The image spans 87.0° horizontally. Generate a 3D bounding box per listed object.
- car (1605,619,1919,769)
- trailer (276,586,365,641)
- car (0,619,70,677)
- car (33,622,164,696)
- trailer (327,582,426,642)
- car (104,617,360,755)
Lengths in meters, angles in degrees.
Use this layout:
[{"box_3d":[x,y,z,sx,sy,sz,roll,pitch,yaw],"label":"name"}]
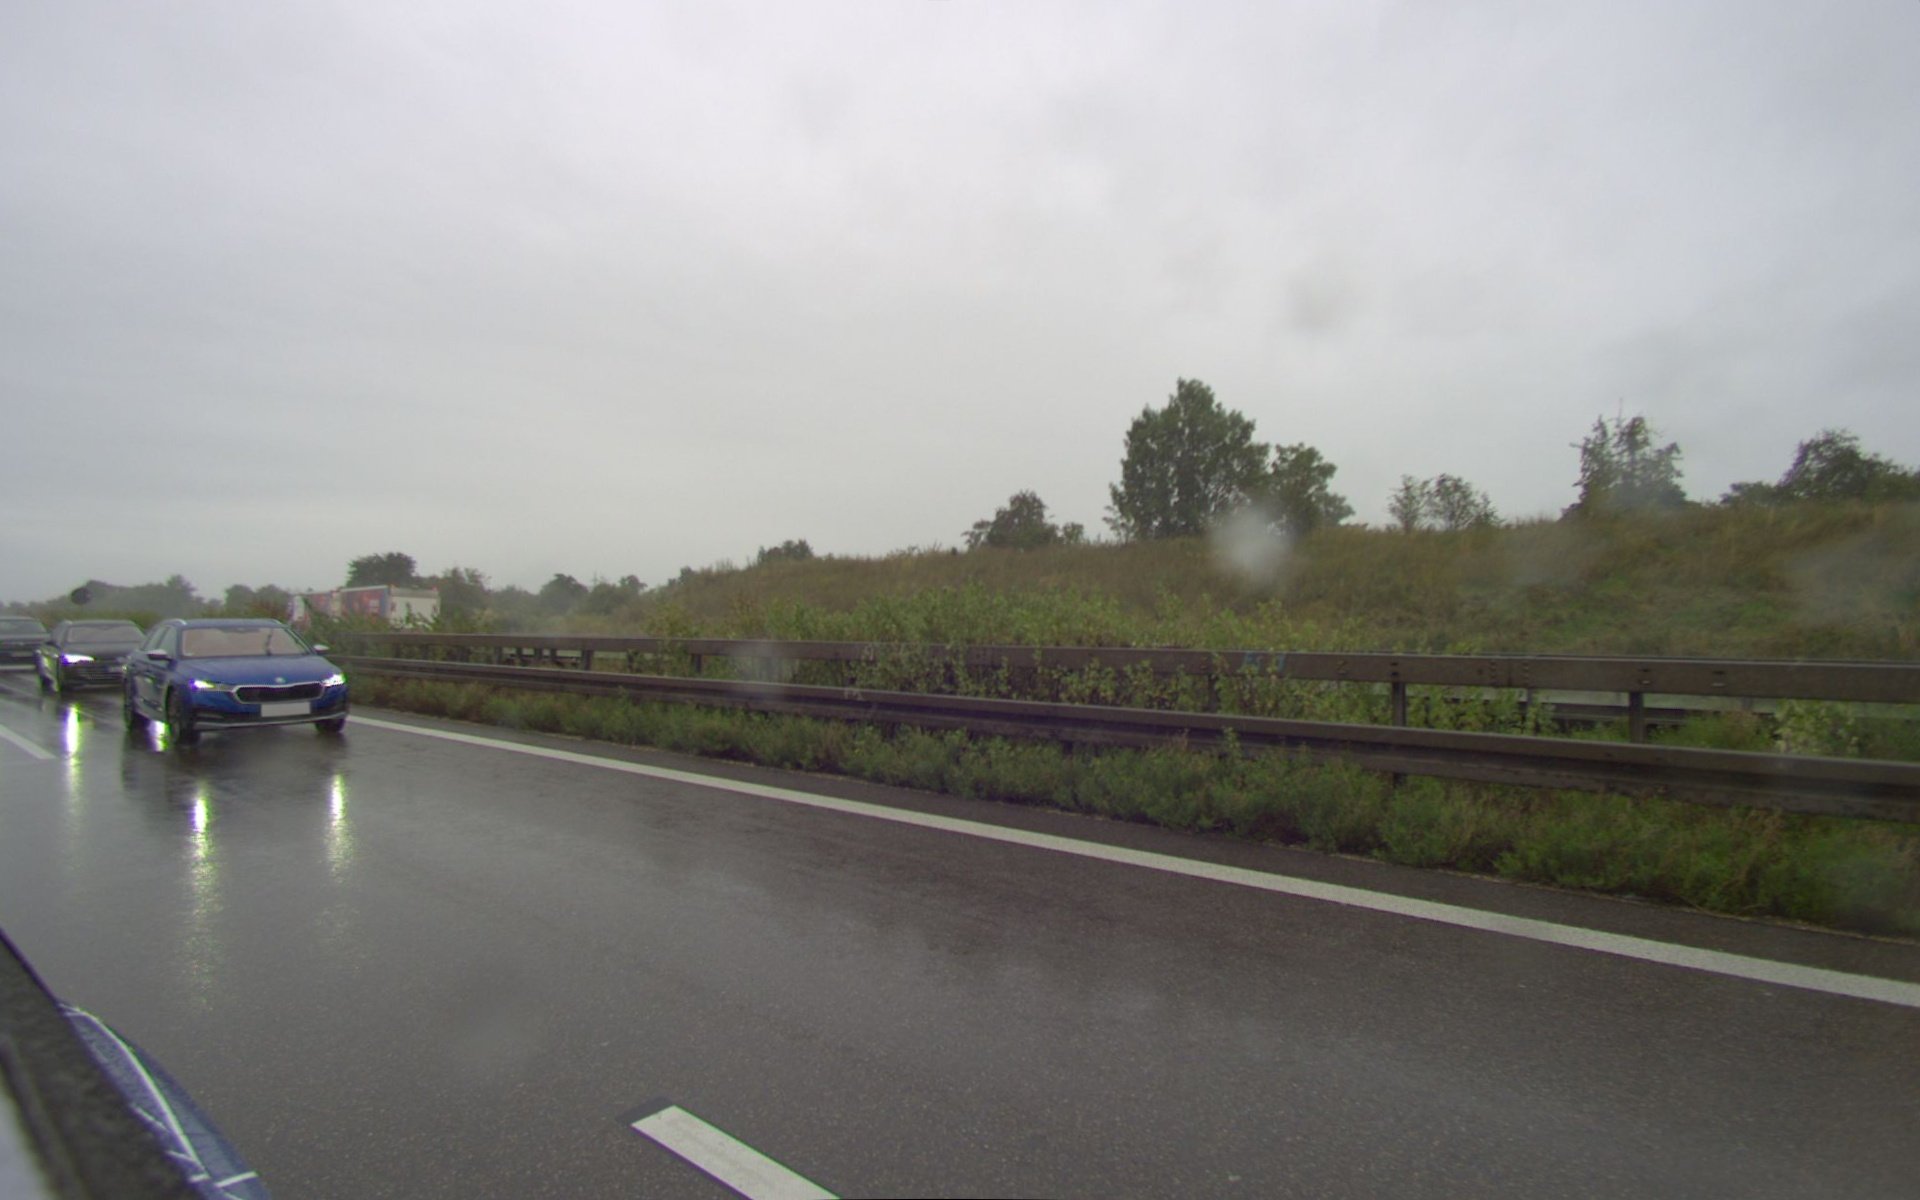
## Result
[{"box_3d":[9.625,0.990,11.534,3.631,1.519,1.657,-1,-2,41],"label":"car"},{"box_3d":[-39.082,0.852,61.710,9.550,3.105,1.973,-1,-1,41],"label":"trailer"},{"box_3d":[-28.870,1.425,31.000,4.267,1.644,1.864,-2,-1,41],"label":"car"},{"box_3d":[-18.930,1.229,22.176,4.368,1.447,1.592,-2,-1,41],"label":"car"},{"box_3d":[-32.161,0.694,55.613,8.867,3.105,1.973,-1,-1,41],"label":"trailer"},{"box_3d":[-9.620,0.994,13.232,4.510,1.487,1.767,-2,-1,41],"label":"car"}]
